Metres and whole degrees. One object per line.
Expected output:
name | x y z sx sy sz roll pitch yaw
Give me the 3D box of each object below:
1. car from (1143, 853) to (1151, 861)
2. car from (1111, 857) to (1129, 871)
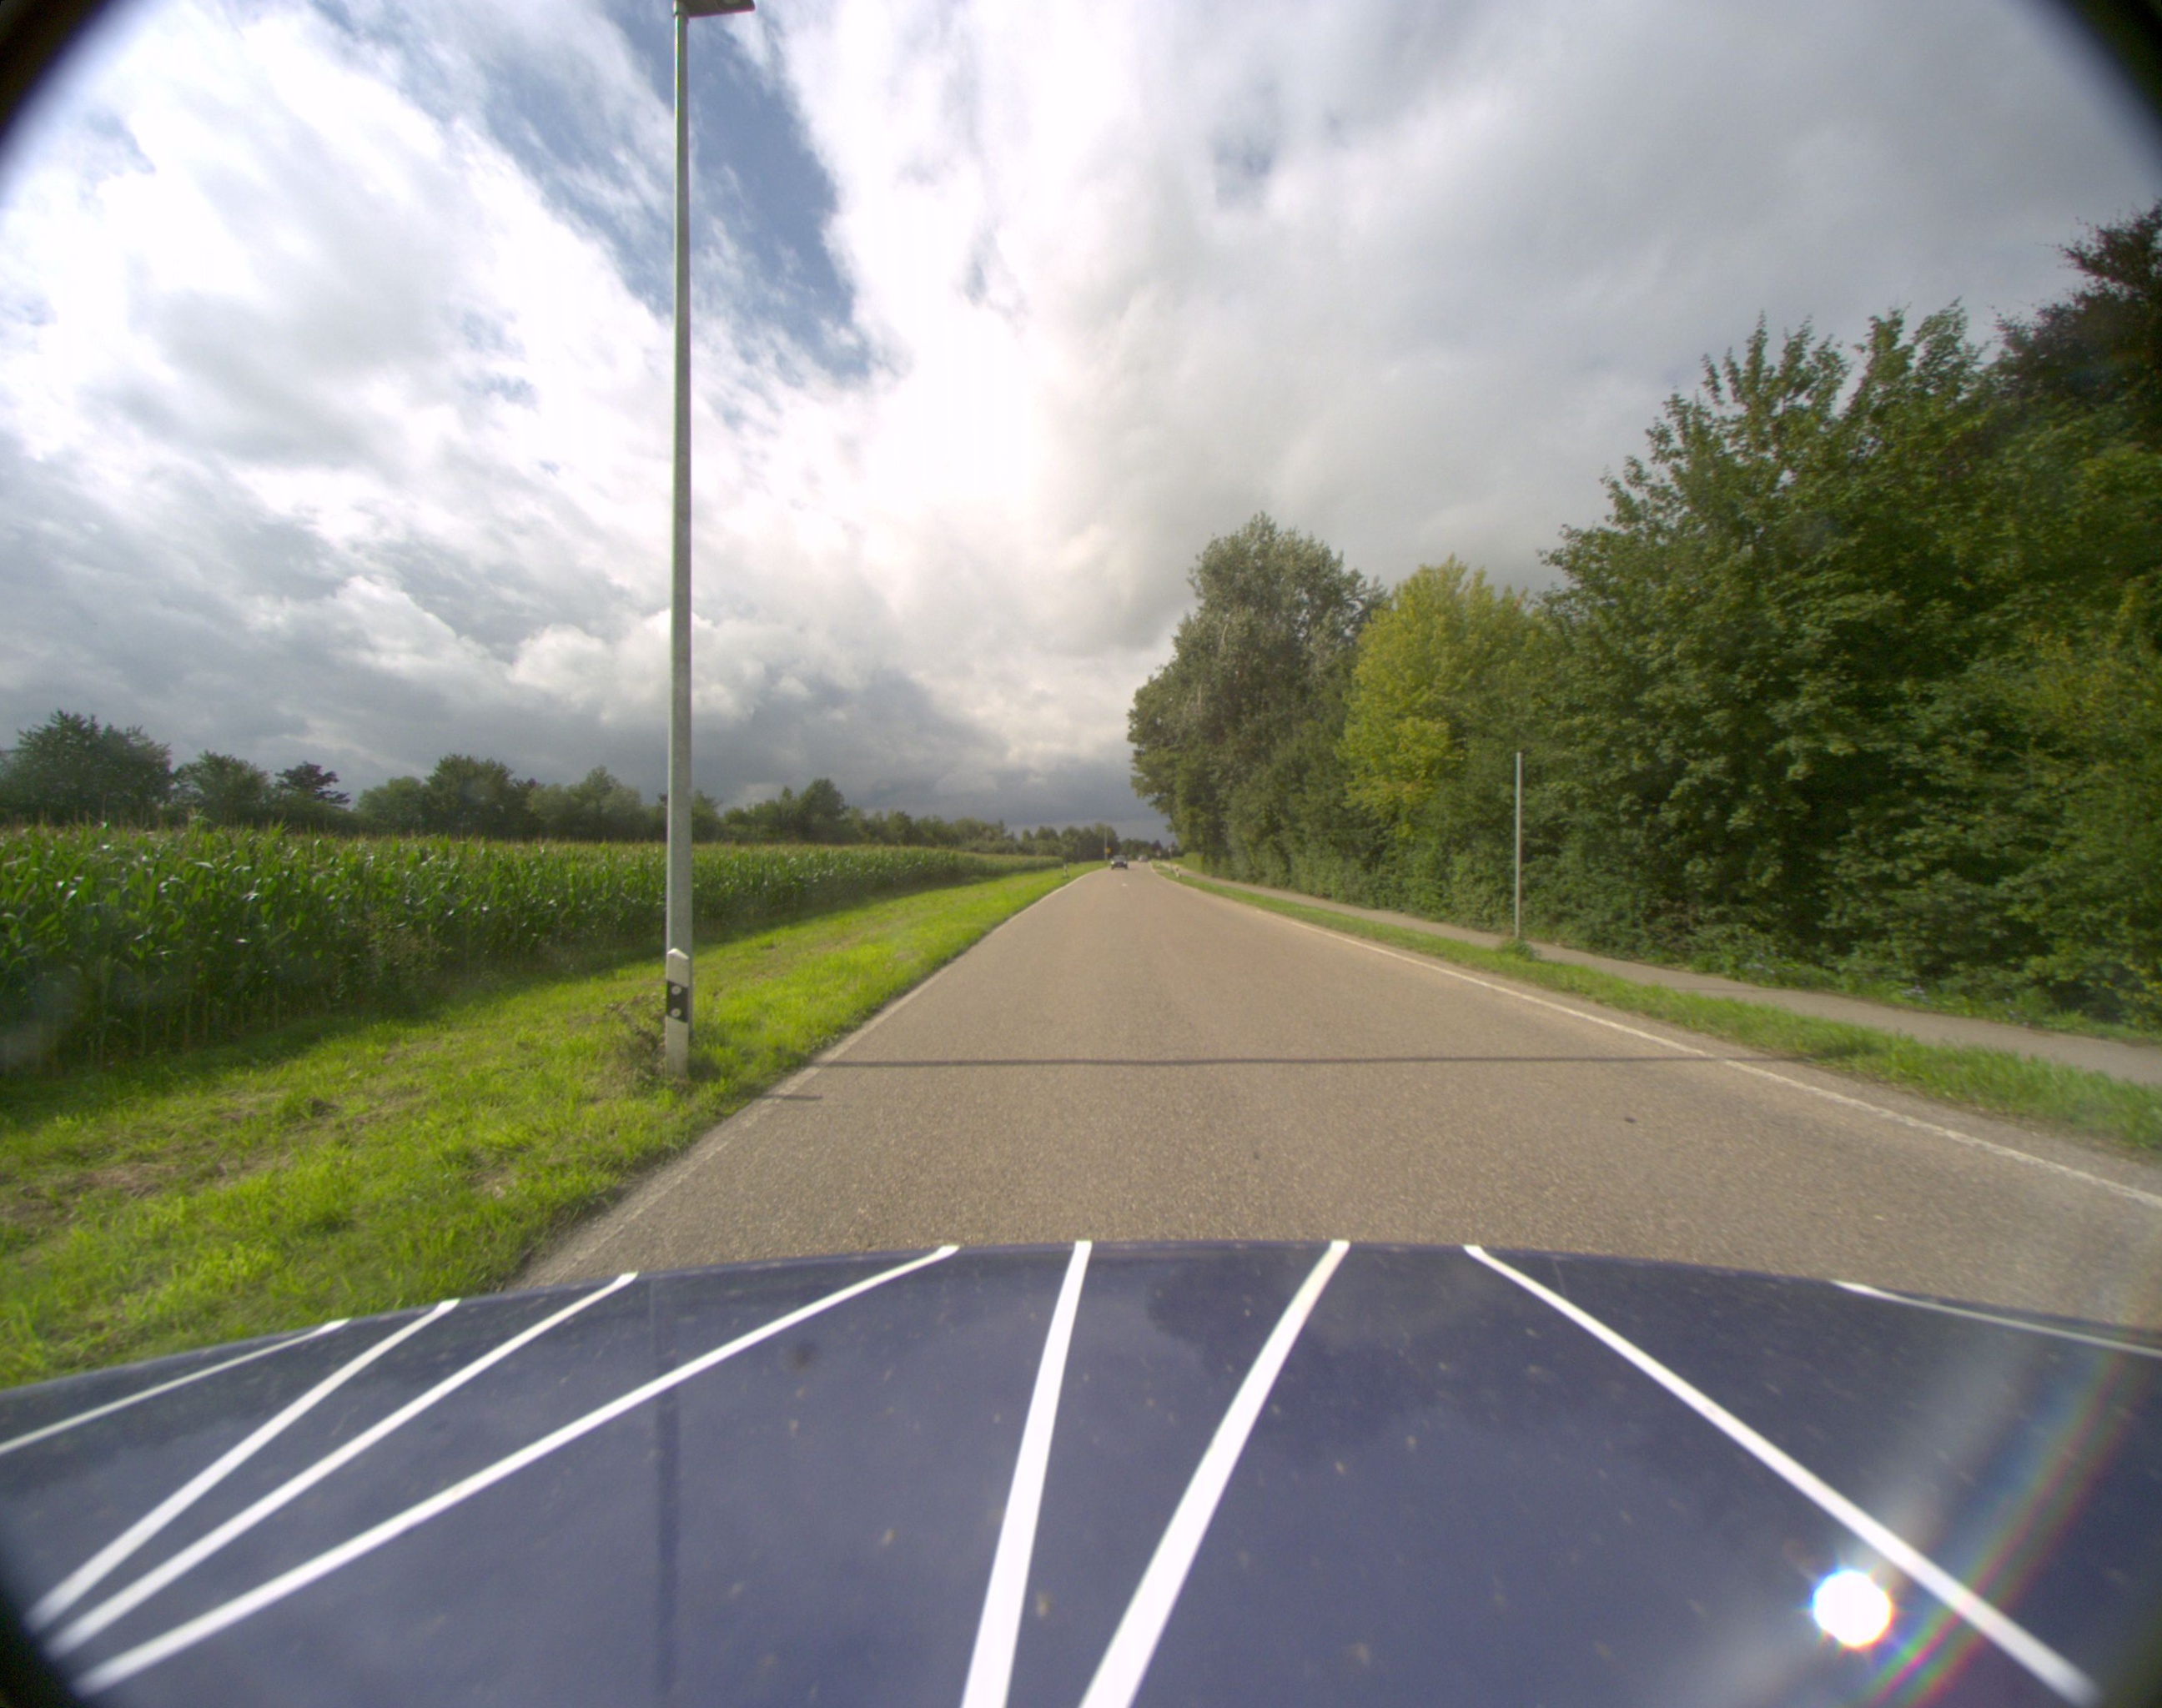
car | 14.978 0.615 171.933 1.815 1.641 4.294 1 0 5
car | 4.682 1.143 89.932 1.998 1.594 4.001 -1 0 4
